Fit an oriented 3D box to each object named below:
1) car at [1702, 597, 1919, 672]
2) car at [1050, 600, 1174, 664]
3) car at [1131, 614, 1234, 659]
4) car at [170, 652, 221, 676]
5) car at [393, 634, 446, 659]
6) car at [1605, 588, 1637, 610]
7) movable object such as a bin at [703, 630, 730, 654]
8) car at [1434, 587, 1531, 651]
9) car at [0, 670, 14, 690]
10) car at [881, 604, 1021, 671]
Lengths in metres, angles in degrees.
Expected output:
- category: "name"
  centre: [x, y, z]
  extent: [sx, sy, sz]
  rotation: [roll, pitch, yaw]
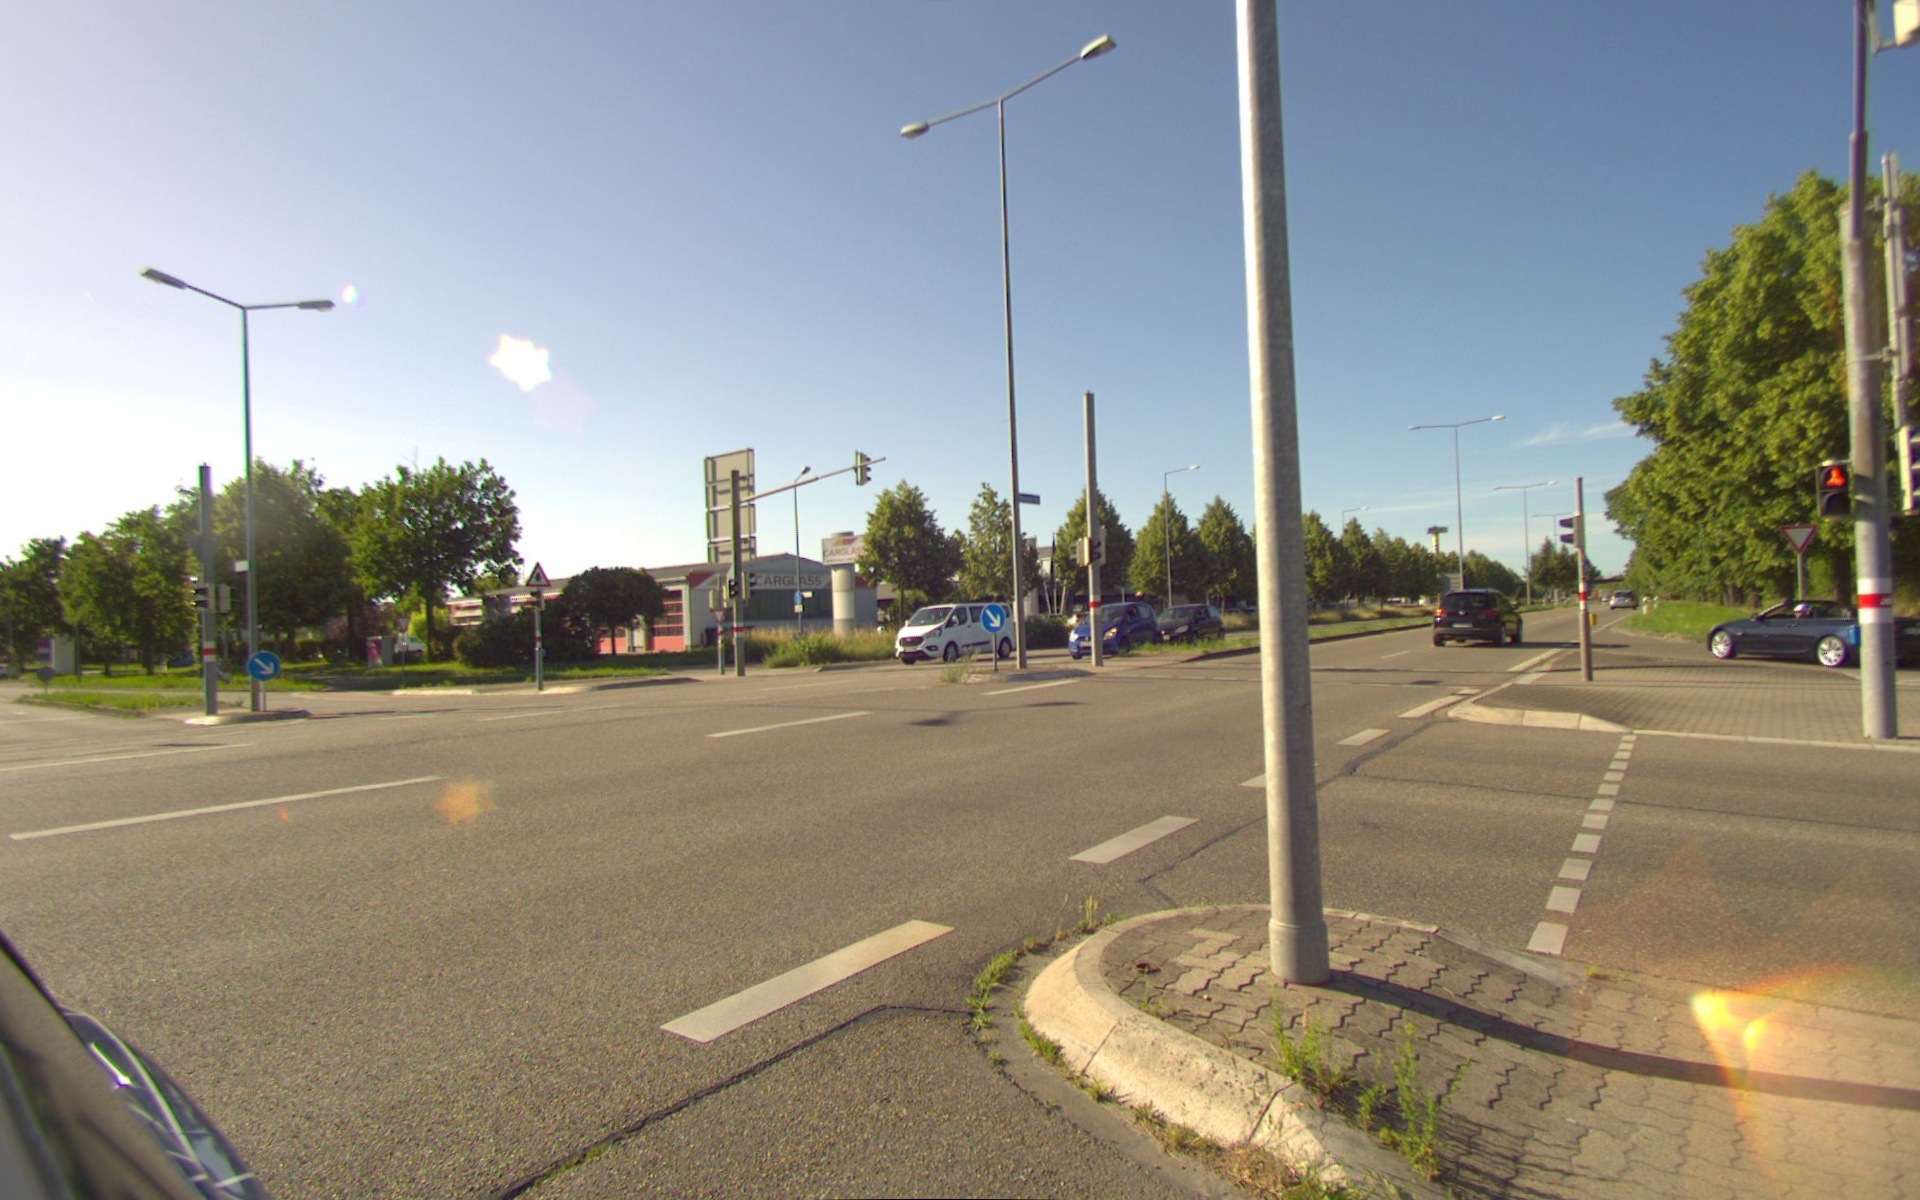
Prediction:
- category: "car"
  centre: [17.886, 0.620, 20.439]
  extent: [2.016, 1.319, 4.690]
  rotation: [-1, 0, -6]
- category: "car"
  centre: [4.524, 0.902, 29.686]
  extent: [1.889, 1.656, 3.990]
  rotation: [-5, -3, 36]
- category: "car"
  centre: [7.515, 1.194, 33.960]
  extent: [1.889, 1.284, 3.990]
  rotation: [-6, -3, 36]
- category: "car"
  centre: [-76.552, 6.421, 101.356]
  extent: [3.937, 2.029, 2.003]
  rotation: [-3, -1, -40]
- category: "car"
  centre: [-52.992, 4.588, 99.316]
  extent: [1.776, 2.234, 4.159]
  rotation: [-4, -2, 39]
- category: "car"
  centre: [54.973, -0.084, 84.193]
  extent: [2.042, 1.628, 4.367]
  rotation: [-5, -3, 34]
- category: "movable object such as a bin"
  centre: [-13.804, 2.388, 57.336]
  extent: [0.992, 1.308, 1.116]
  rotation: [-4, -2, 42]
- category: "car"
  centre: [15.468, 0.542, 29.859]
  extent: [1.830, 1.639, 3.950]
  rotation: [-4, -1, 37]
- category: "car"
  centre: [-86.017, 7.131, 88.715]
  extent: [4.426, 1.719, 2.002]
  rotation: [-1, -2, -43]
- category: "car"
  centre: [-0.225, 1.236, 34.938]
  extent: [2.044, 2.029, 5.211]
  rotation: [-5, -3, 36]
